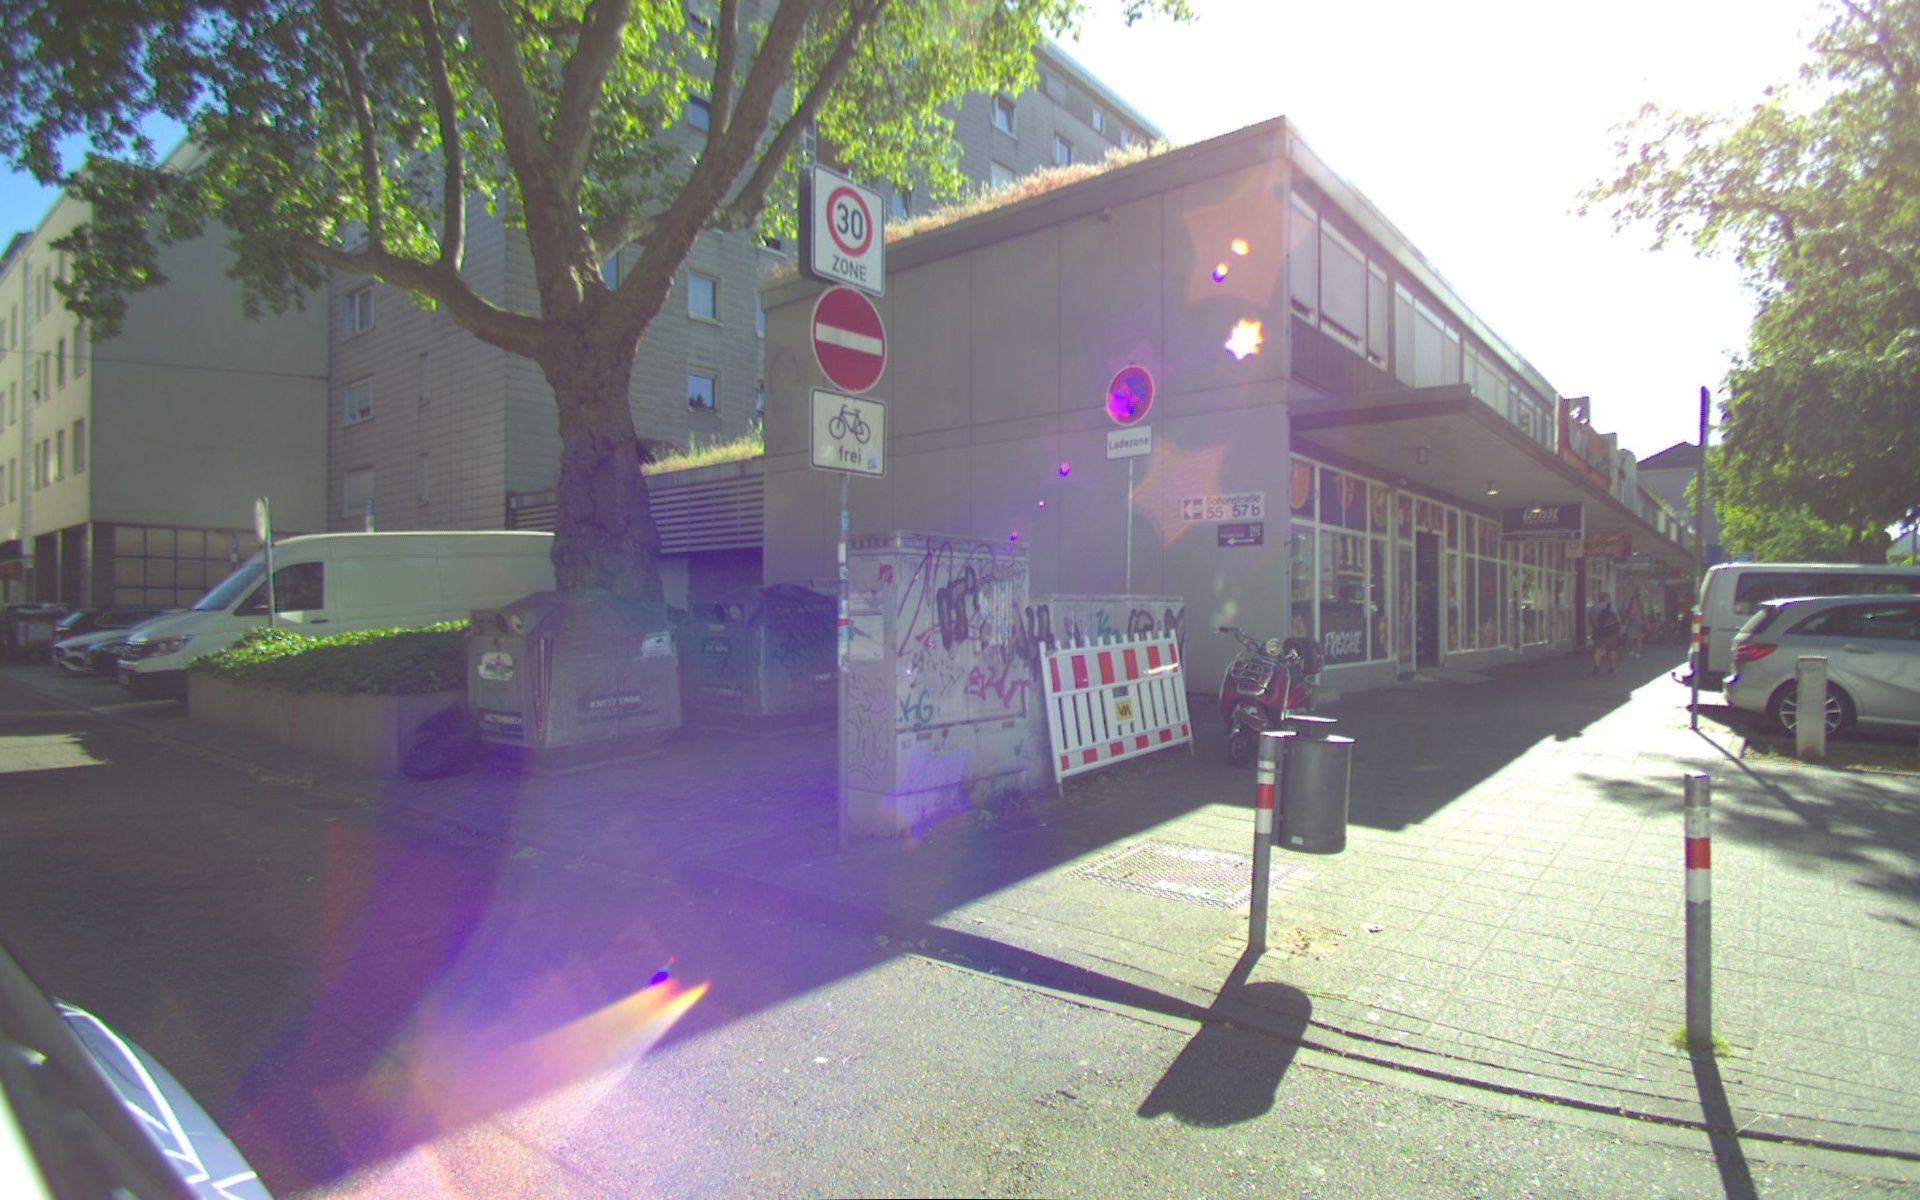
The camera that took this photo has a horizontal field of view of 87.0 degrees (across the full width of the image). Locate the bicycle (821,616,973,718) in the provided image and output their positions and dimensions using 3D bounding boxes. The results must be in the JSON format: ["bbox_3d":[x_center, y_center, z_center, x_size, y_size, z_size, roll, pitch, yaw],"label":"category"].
[{"bbox_3d":[-0.750,0.802,12.302,1.698,1.162,0.803,-1,1,9],"label":"bicycle"}]

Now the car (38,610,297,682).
[{"bbox_3d":[-17.814,0.977,22.983,1.595,1.474,4.368,-1,-1,33],"label":"car"}]

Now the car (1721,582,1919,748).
[{"bbox_3d":[10.400,0.641,10.208,4.299,1.625,1.735,-1,-1,39],"label":"car"}]

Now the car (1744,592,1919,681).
[{"bbox_3d":[19.738,0.751,21.663,4.637,1.818,1.813,0,-1,39],"label":"car"}]

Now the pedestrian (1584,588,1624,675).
[{"bbox_3d":[12.752,0.613,20.037,0.566,1.678,0.702,1,0,41],"label":"pedestrian"}]

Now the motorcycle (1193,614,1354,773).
[{"bbox_3d":[2.787,0.748,8.871,0.669,1.189,1.896,-1,1,40],"label":"motorcycle"}]

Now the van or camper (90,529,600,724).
[{"bbox_3d":[-9.661,0.202,16.720,1.999,2.593,6.836,-1,2,40],"label":"van or camper"}]

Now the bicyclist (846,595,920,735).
[{"bbox_3d":[-0.909,0.747,11.941,0.701,1.596,0.529,-1,-1,25],"label":"bicyclist"}]

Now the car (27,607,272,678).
[{"bbox_3d":[-19.510,0.964,24.567,1.694,1.545,4.368,-1,-1,33],"label":"car"}]

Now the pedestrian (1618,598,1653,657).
[{"bbox_3d":[18.088,0.727,27.095,0.689,1.533,0.525,1,0,41],"label":"pedestrian"}]

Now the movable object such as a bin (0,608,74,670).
[{"bbox_3d":[-23.244,0.954,25.403,1.193,1.512,1.312,-1,-1,38],"label":"movable object such as a bin"}]

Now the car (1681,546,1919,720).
[{"bbox_3d":[11.803,0.396,12.412,4.739,2.021,1.935,1,0,38],"label":"car"}]

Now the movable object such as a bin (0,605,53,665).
[{"bbox_3d":[-24.427,0.888,26.167,1.515,1.512,1.207,-1,-1,38],"label":"movable object such as a bin"}]

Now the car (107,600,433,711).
[{"bbox_3d":[-11.795,0.850,17.585,1.697,1.545,4.361,-1,1,38],"label":"car"}]

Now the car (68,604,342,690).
[{"bbox_3d":[-15.835,0.907,21.465,1.694,1.629,4.368,-1,-1,33],"label":"car"}]
